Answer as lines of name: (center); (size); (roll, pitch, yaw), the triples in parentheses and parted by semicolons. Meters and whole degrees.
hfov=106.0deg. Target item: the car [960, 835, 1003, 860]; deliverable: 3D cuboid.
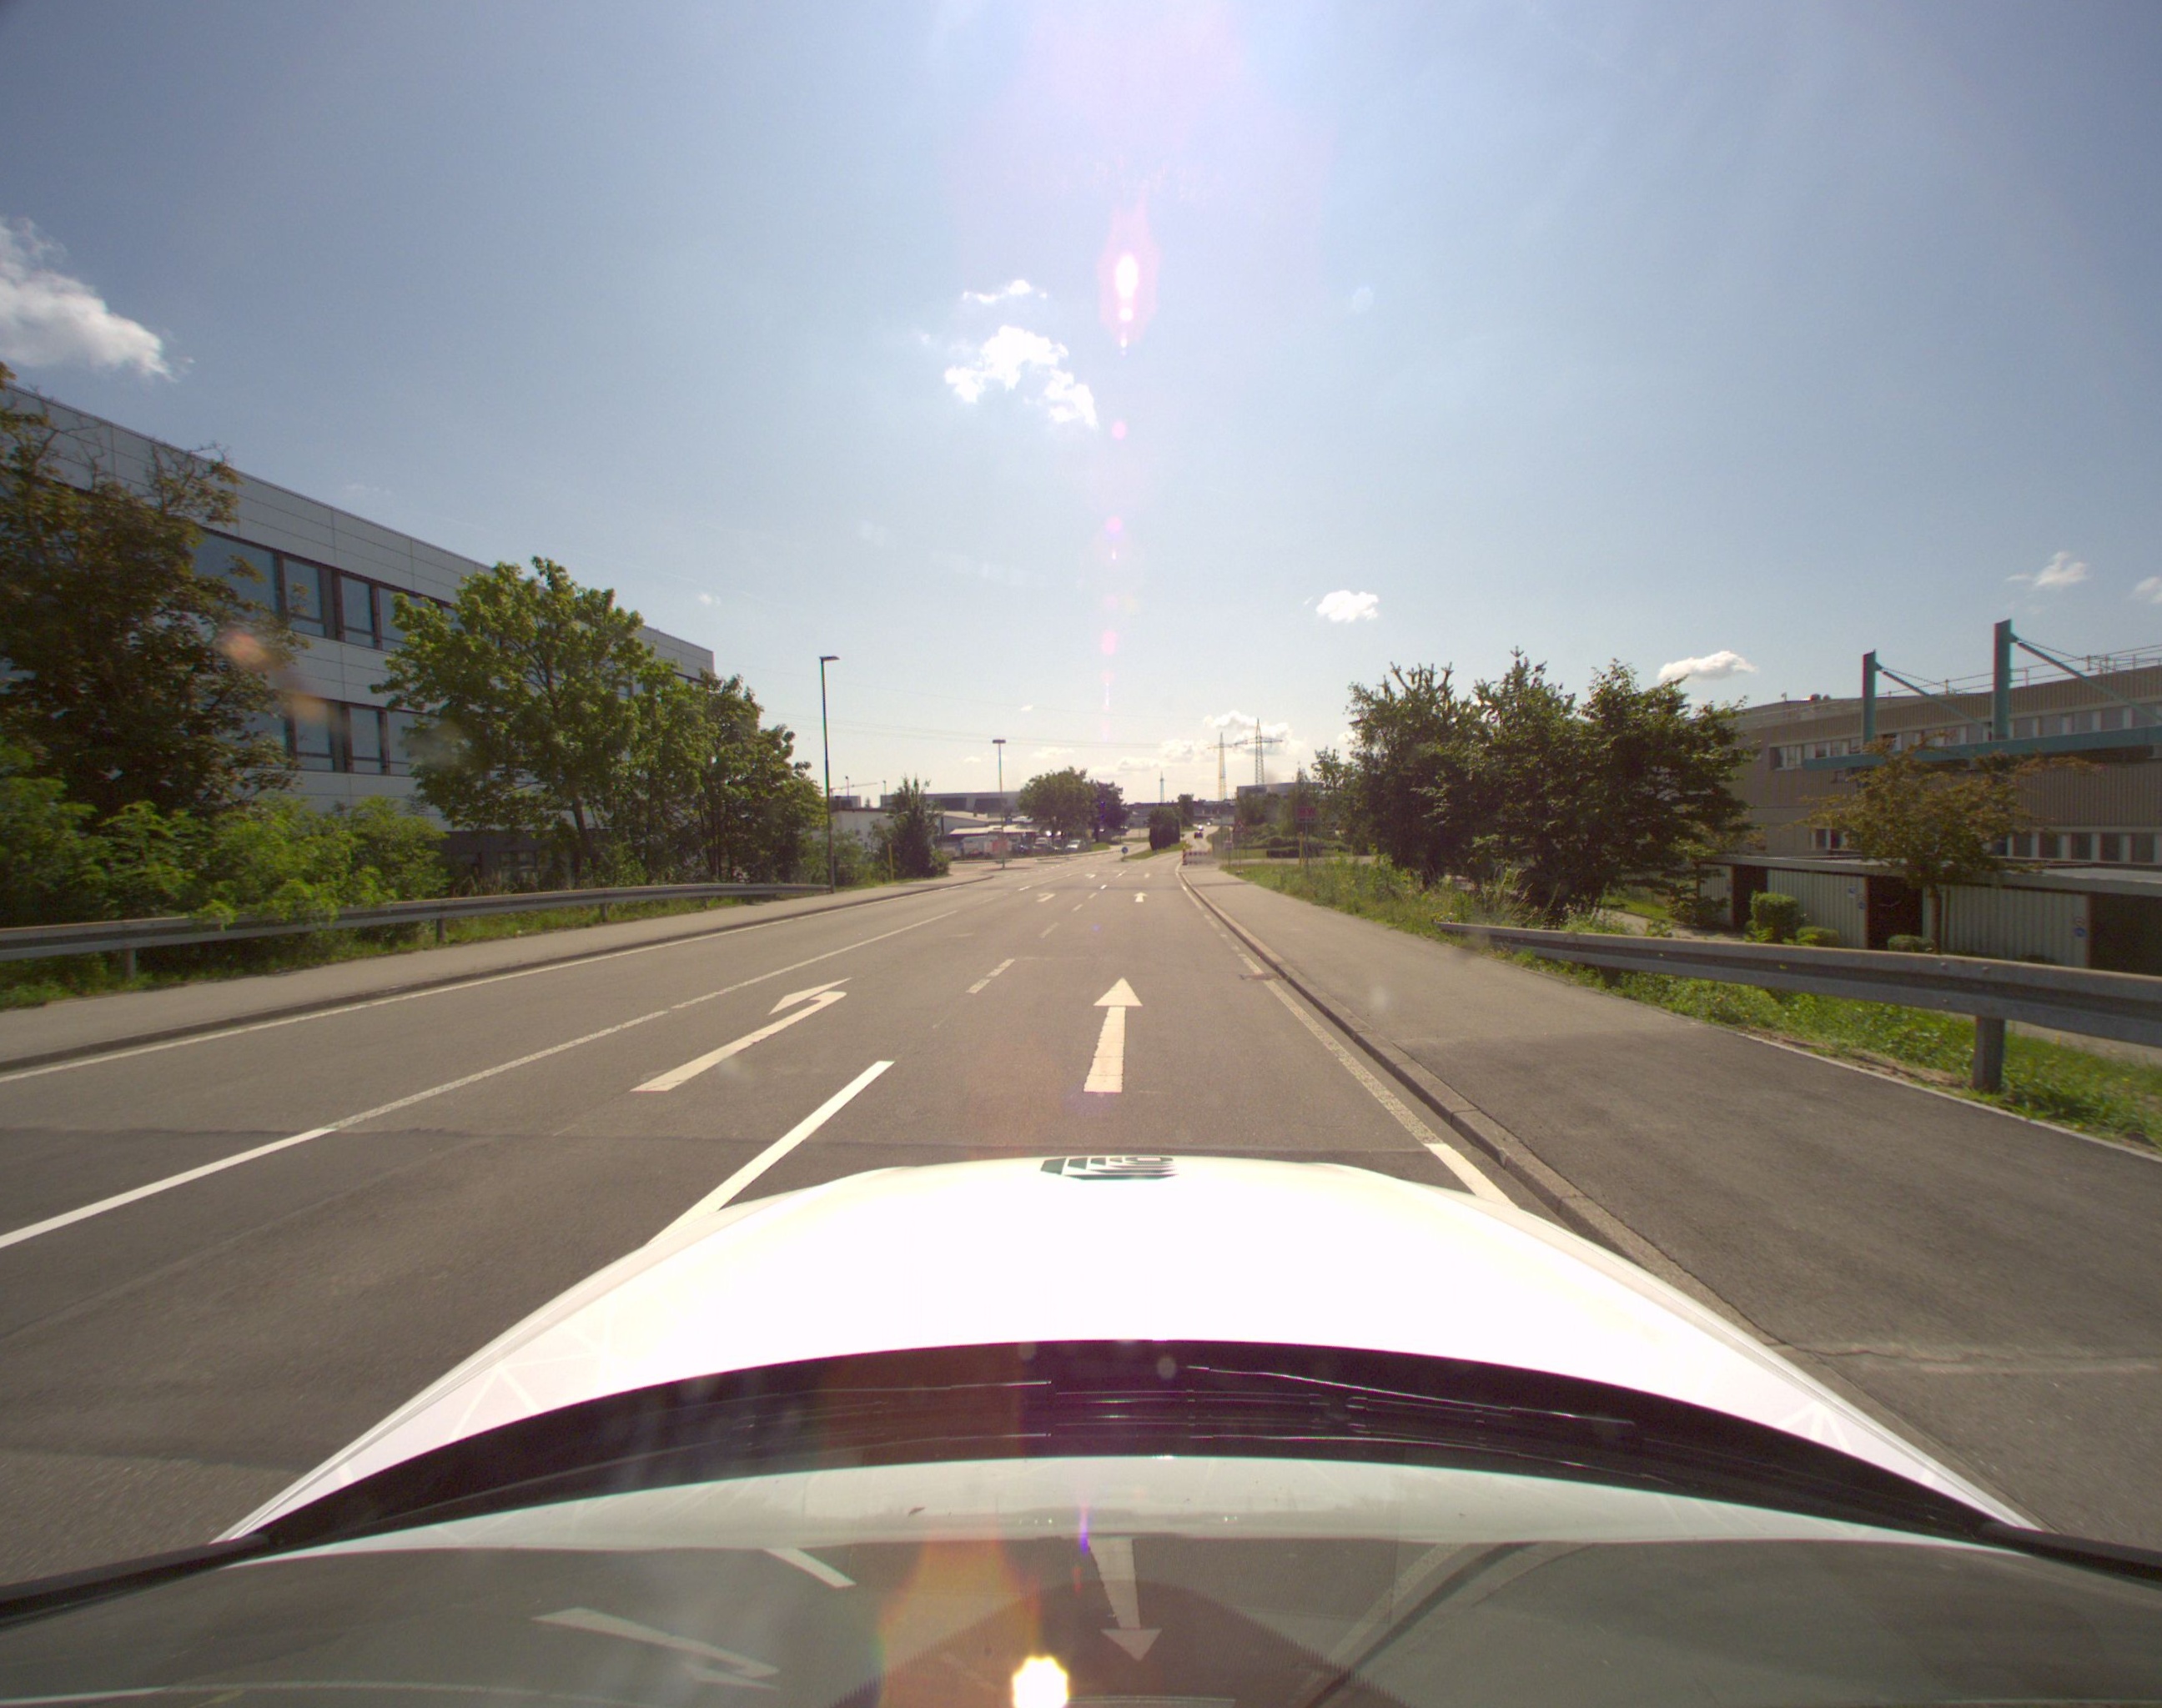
car: (-10.680, -0.704, 87.408); (4.309, 2.608, 2.013); (-1, 1, 34)

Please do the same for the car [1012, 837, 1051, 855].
car: (-5.682, -0.961, 93.210); (3.949, 1.903, 2.013); (1, 3, 32)

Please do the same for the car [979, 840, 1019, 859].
car: (-8.992, -0.530, 89.274); (3.948, 1.903, 2.013); (1, 3, 37)

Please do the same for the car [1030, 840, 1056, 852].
car: (-5.869, -1.245, 125.454); (3.981, 1.850, 1.831); (-1, 1, -6)

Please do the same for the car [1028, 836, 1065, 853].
car: (-4.196, -1.180, 98.071); (3.950, 1.903, 2.012); (0, 3, 26)

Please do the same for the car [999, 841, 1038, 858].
car: (-6.977, -0.510, 91.216); (3.948, 1.780, 2.013); (1, 3, 37)

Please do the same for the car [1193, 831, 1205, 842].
car: (24.457, -3.667, 169.278); (2.259, 1.946, 4.676); (2, 3, 7)
